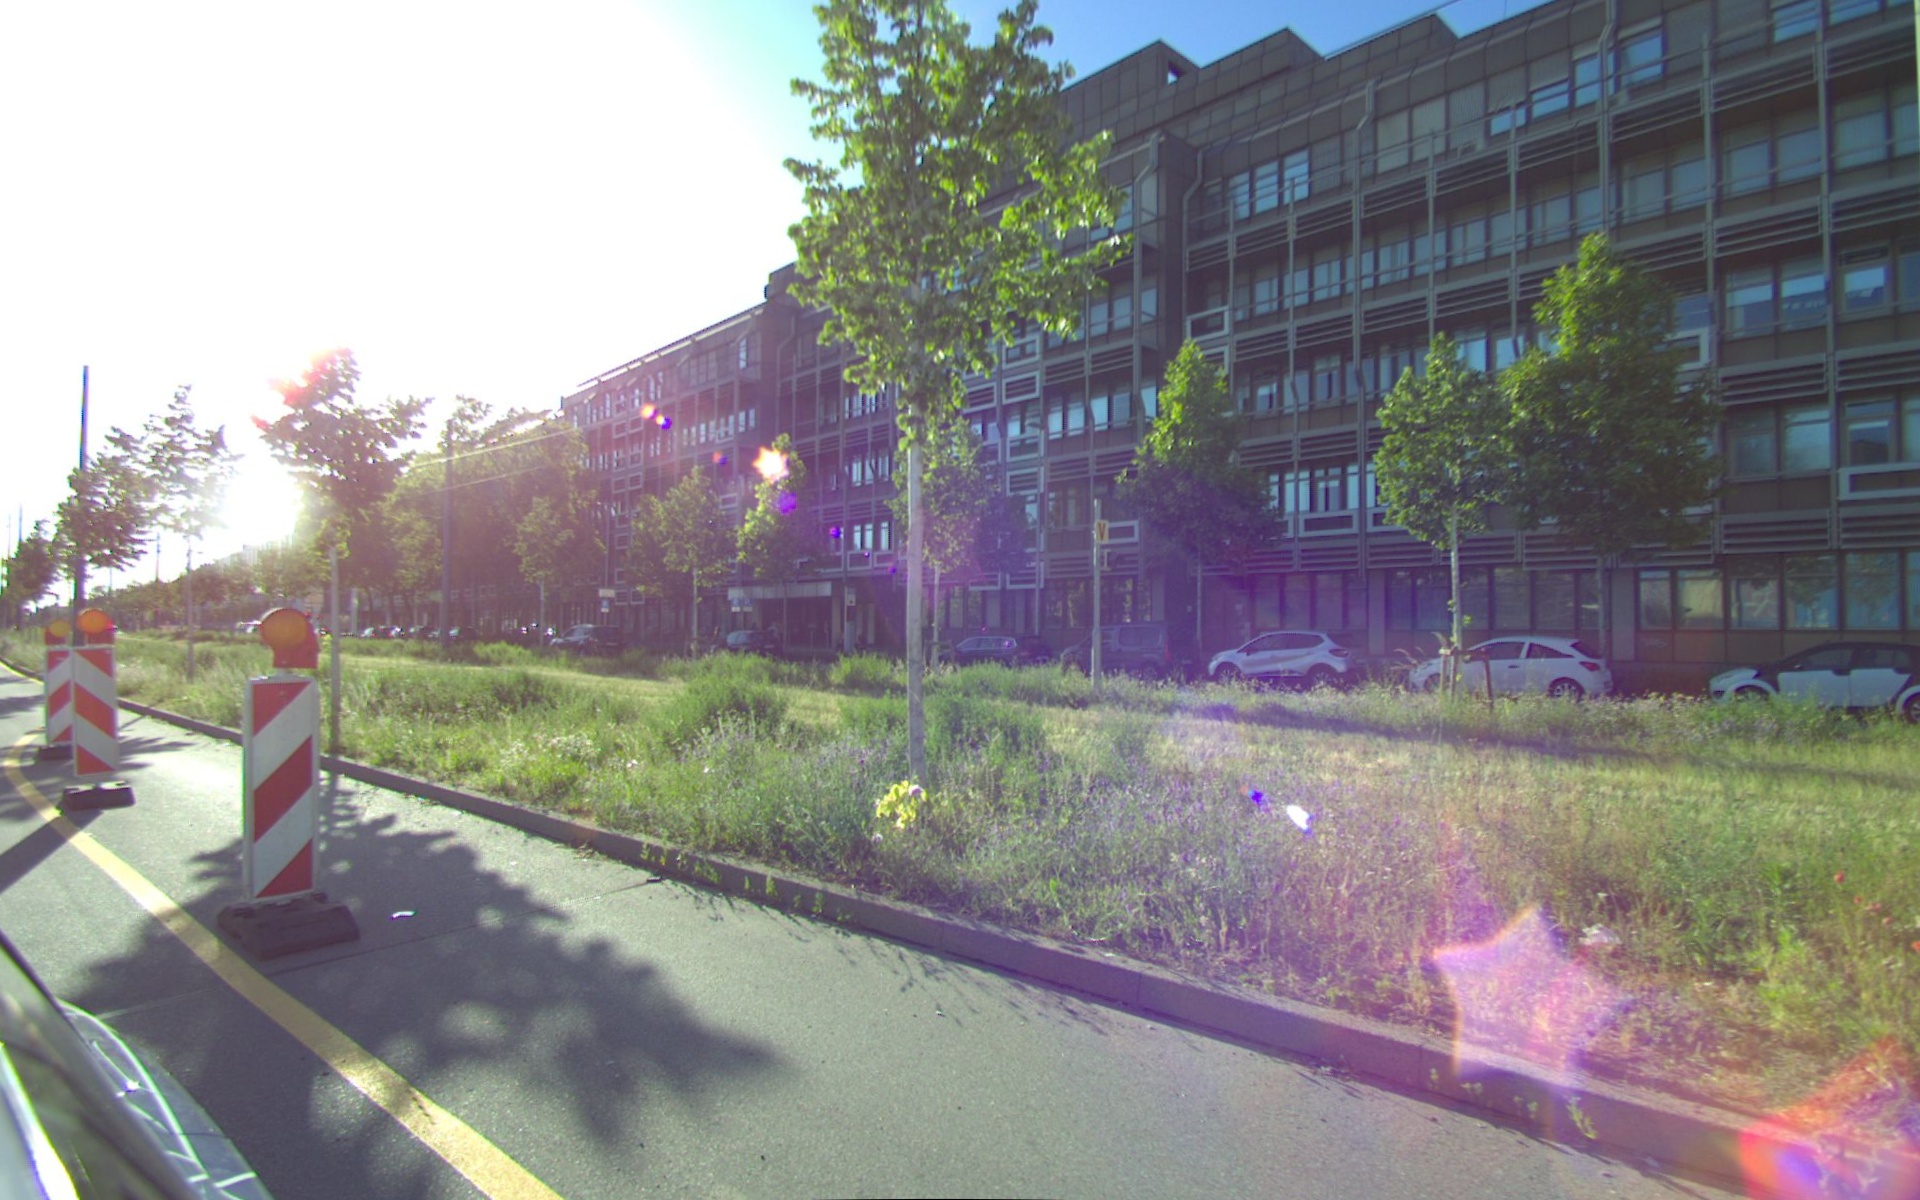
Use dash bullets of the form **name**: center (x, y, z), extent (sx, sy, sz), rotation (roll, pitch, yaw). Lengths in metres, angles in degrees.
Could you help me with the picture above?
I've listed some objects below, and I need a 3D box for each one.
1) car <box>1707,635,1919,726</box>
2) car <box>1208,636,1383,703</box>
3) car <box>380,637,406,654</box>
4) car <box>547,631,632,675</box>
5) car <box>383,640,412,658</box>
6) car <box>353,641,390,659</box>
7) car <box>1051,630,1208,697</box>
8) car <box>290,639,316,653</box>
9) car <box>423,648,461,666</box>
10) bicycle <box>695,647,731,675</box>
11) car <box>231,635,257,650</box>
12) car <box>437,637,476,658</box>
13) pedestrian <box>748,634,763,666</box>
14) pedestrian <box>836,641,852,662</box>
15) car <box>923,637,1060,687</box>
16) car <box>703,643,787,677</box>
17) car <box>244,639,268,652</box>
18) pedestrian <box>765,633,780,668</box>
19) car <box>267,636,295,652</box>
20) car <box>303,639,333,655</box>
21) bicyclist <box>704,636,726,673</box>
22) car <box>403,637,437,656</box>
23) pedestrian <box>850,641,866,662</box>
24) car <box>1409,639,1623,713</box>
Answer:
- **car**: center (16.398, 1.426, 18.684), extent (1.630, 1.566, 3.969), rotation (2, -3, -44)
- **car**: center (8.543, 1.732, 25.986), extent (1.718, 1.548, 3.886), rotation (1, -3, -45)
- **car**: center (-54.910, 4.383, 97.932), extent (3.268, 1.614, 1.371), rotation (-2, -2, 45)
- **car**: center (-15.800, 2.223, 43.052), extent (4.121, 1.760, 1.709), rotation (-2, -3, 43)
- **car**: center (-52.074, 4.507, 93.675), extent (3.529, 1.614, 1.489), rotation (-2, -2, 45)
- **car**: center (-47.242, 3.988, 81.267), extent (1.695, 1.398, 4.043), rotation (3, -3, -43)
- **car**: center (4.875, 1.803, 29.548), extent (1.730, 1.785, 4.333), rotation (1, -2, -45)
- **car**: center (-70.166, 4.933, 108.077), extent (1.608, 1.507, 3.783), rotation (3, -4, -43)
- **car**: center (-44.036, 4.853, 86.027), extent (3.632, 1.497, 1.703), rotation (-2, -4, 44)
- **bicycle**: center (-10.053, 2.486, 41.215), extent (1.771, 1.105, 0.559), rotation (-3, -4, 44)
- **car**: center (-81.424, 4.852, 115.034), extent (1.838, 1.694, 3.783), rotation (3, -4, -43)
- **car**: center (-40.459, 3.802, 81.276), extent (3.633, 1.556, 1.702), rotation (-2, -2, 45)
- **pedestrian**: center (-10.082, 2.453, 49.928), extent (0.514, 1.590, 0.537), rotation (3, -4, -41)
- **pedestrian**: center (-5.729, 2.546, 50.082), extent (0.609, 0.993, 0.499), rotation (3, -4, -42)
- **car**: center (0.974, 2.007, 33.326), extent (4.505, 1.480, 1.710), rotation (-3, -2, 44)
- **car**: center (-9.405, 2.591, 44.153), extent (1.696, 1.398, 4.042), rotation (2, -3, -44)
- **car**: center (-75.048, 4.825, 107.858), extent (1.532, 1.390, 3.783), rotation (3, -4, -43)
- **pedestrian**: center (-9.355, 2.526, 50.378), extent (0.514, 1.735, 0.537), rotation (3, -4, -41)
- **car**: center (-64.079, 4.167, 95.475), extent (1.608, 1.507, 3.783), rotation (3, -4, -43)
- **car**: center (-61.637, 4.527, 97.079), extent (1.608, 1.507, 4.421), rotation (3, -4, -43)
- **bicyclist**: center (-9.974, 2.216, 41.151), extent (0.706, 1.468, 0.559), rotation (-3, -5, 44)
- **car**: center (-48.080, 4.153, 90.137), extent (3.633, 1.614, 1.702), rotation (-2, -1, 45)
- **pedestrian**: center (-4.972, 2.509, 49.217), extent (0.609, 0.993, 0.499), rotation (3, -4, -42)
- **car**: center (12.186, 1.608, 22.329), extent (1.606, 1.452, 3.821), rotation (1, -2, -45)
